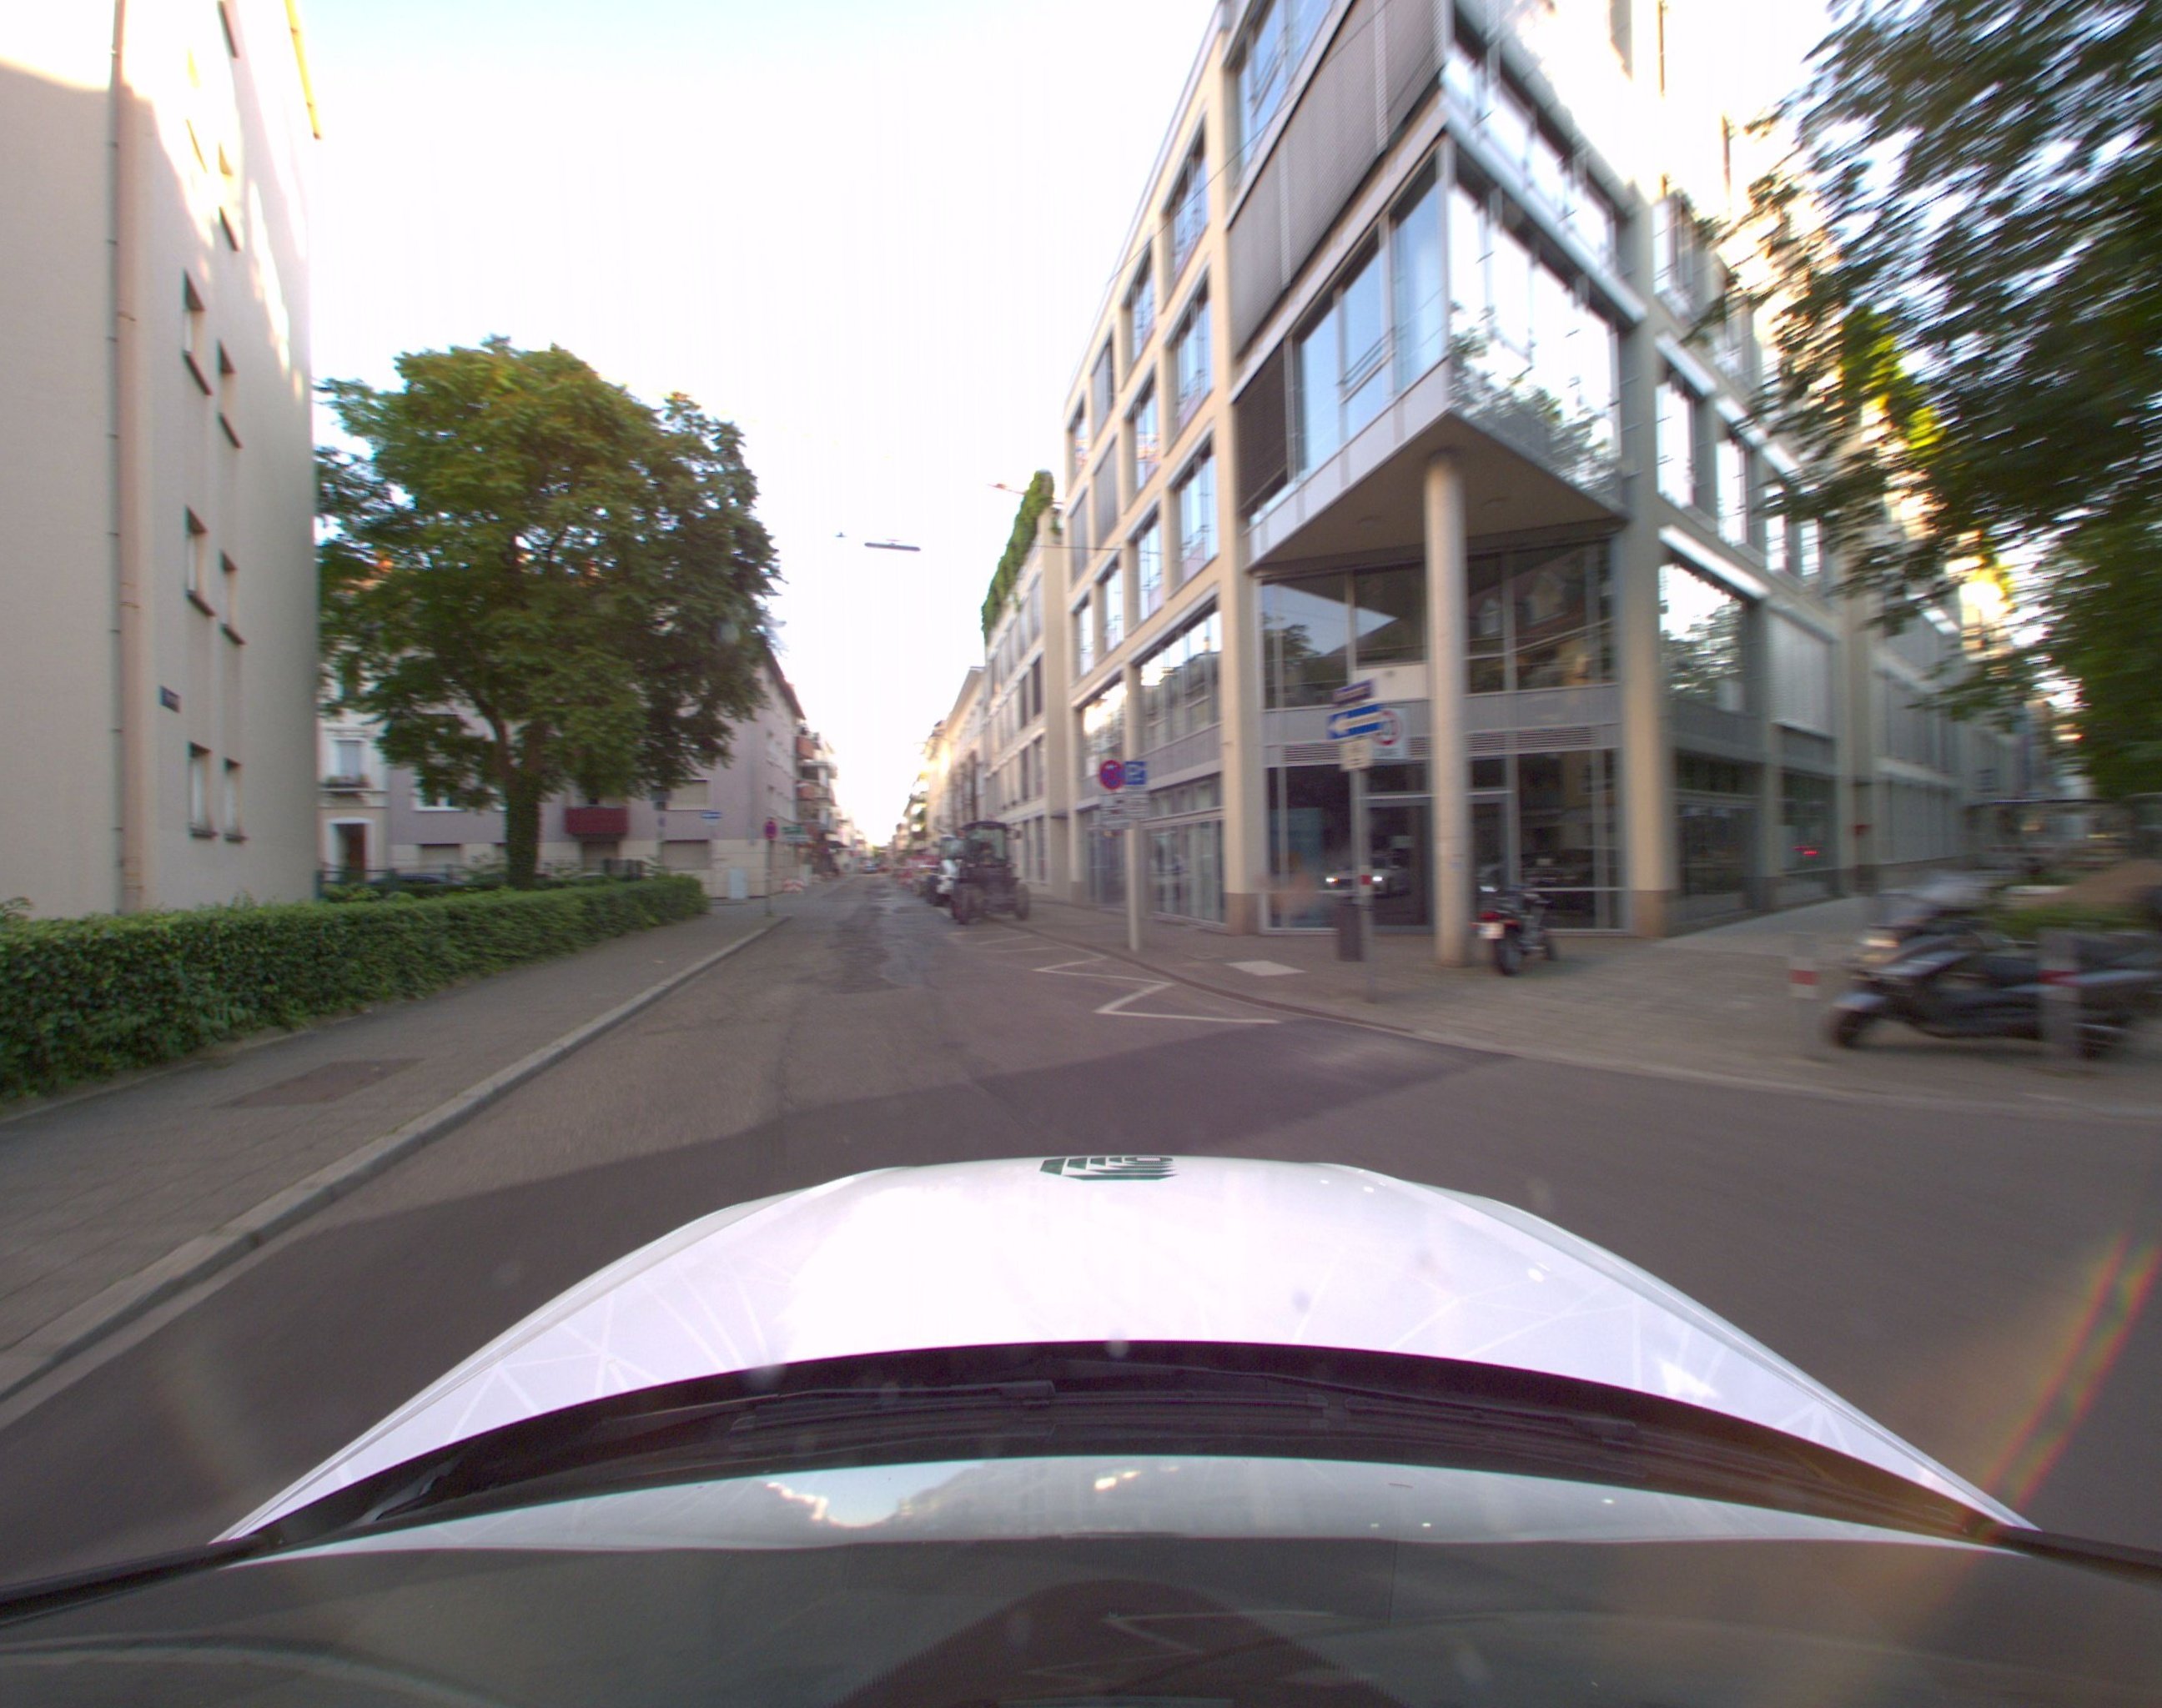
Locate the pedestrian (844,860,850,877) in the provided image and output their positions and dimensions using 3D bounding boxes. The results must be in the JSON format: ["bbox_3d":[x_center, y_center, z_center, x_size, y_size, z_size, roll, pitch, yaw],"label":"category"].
[{"bbox_3d":[-26.271,1.610,91.431,0.655,1.886,0.571,-1,-1,-14],"label":"pedestrian"}]

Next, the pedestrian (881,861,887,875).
[{"bbox_3d":[-25.186,1.768,104.267,0.722,1.740,0.643,-1,-1,-17],"label":"pedestrian"}]

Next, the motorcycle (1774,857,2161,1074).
[{"bbox_3d":[6.727,0.763,5.997,2.355,1.440,0.804,-1,0,13],"label":"motorcycle"}]

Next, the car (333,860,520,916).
[{"bbox_3d":[-21.322,1.064,26.730,4.376,1.640,1.820,-1,0,-14],"label":"car"}]

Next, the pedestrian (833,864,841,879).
[{"bbox_3d":[-24.811,1.798,82.883,0.649,1.565,0.625,-1,-1,-30],"label":"pedestrian"}]

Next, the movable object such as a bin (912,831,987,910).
[{"bbox_3d":[-4.938,0.562,29.959,2.170,2.596,5.515,-1,0,-15],"label":"movable object such as a bin"}]

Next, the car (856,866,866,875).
[{"bbox_3d":[-35.129,2.643,130.305,1.477,1.398,3.315,-1,-1,-15],"label":"car"}]

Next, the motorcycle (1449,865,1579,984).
[{"bbox_3d":[5.472,0.825,10.228,2.136,1.274,0.609,-2,1,-39],"label":"motorcycle"}]

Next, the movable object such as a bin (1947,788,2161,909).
[{"bbox_3d":[21.199,-0.113,17.292,2.596,2.333,3.635,-1,0,-39],"label":"movable object such as a bin"}]

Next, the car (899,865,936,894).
[{"bbox_3d":[-8.770,1.305,43.443,1.696,1.406,4.457,0,0,-14],"label":"car"}]

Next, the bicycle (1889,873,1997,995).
[{"bbox_3d":[9.248,0.796,8.715,1.808,1.118,0.596,-2,0,-38],"label":"bicycle"}]

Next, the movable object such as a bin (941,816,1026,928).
[{"bbox_3d":[-2.674,0.432,21.600,1.798,2.634,4.092,-1,0,-13],"label":"movable object such as a bin"}]

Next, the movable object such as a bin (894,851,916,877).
[{"bbox_3d":[-22.006,1.200,101.567,2.474,3.130,4.276,0,0,-15],"label":"movable object such as a bin"}]
